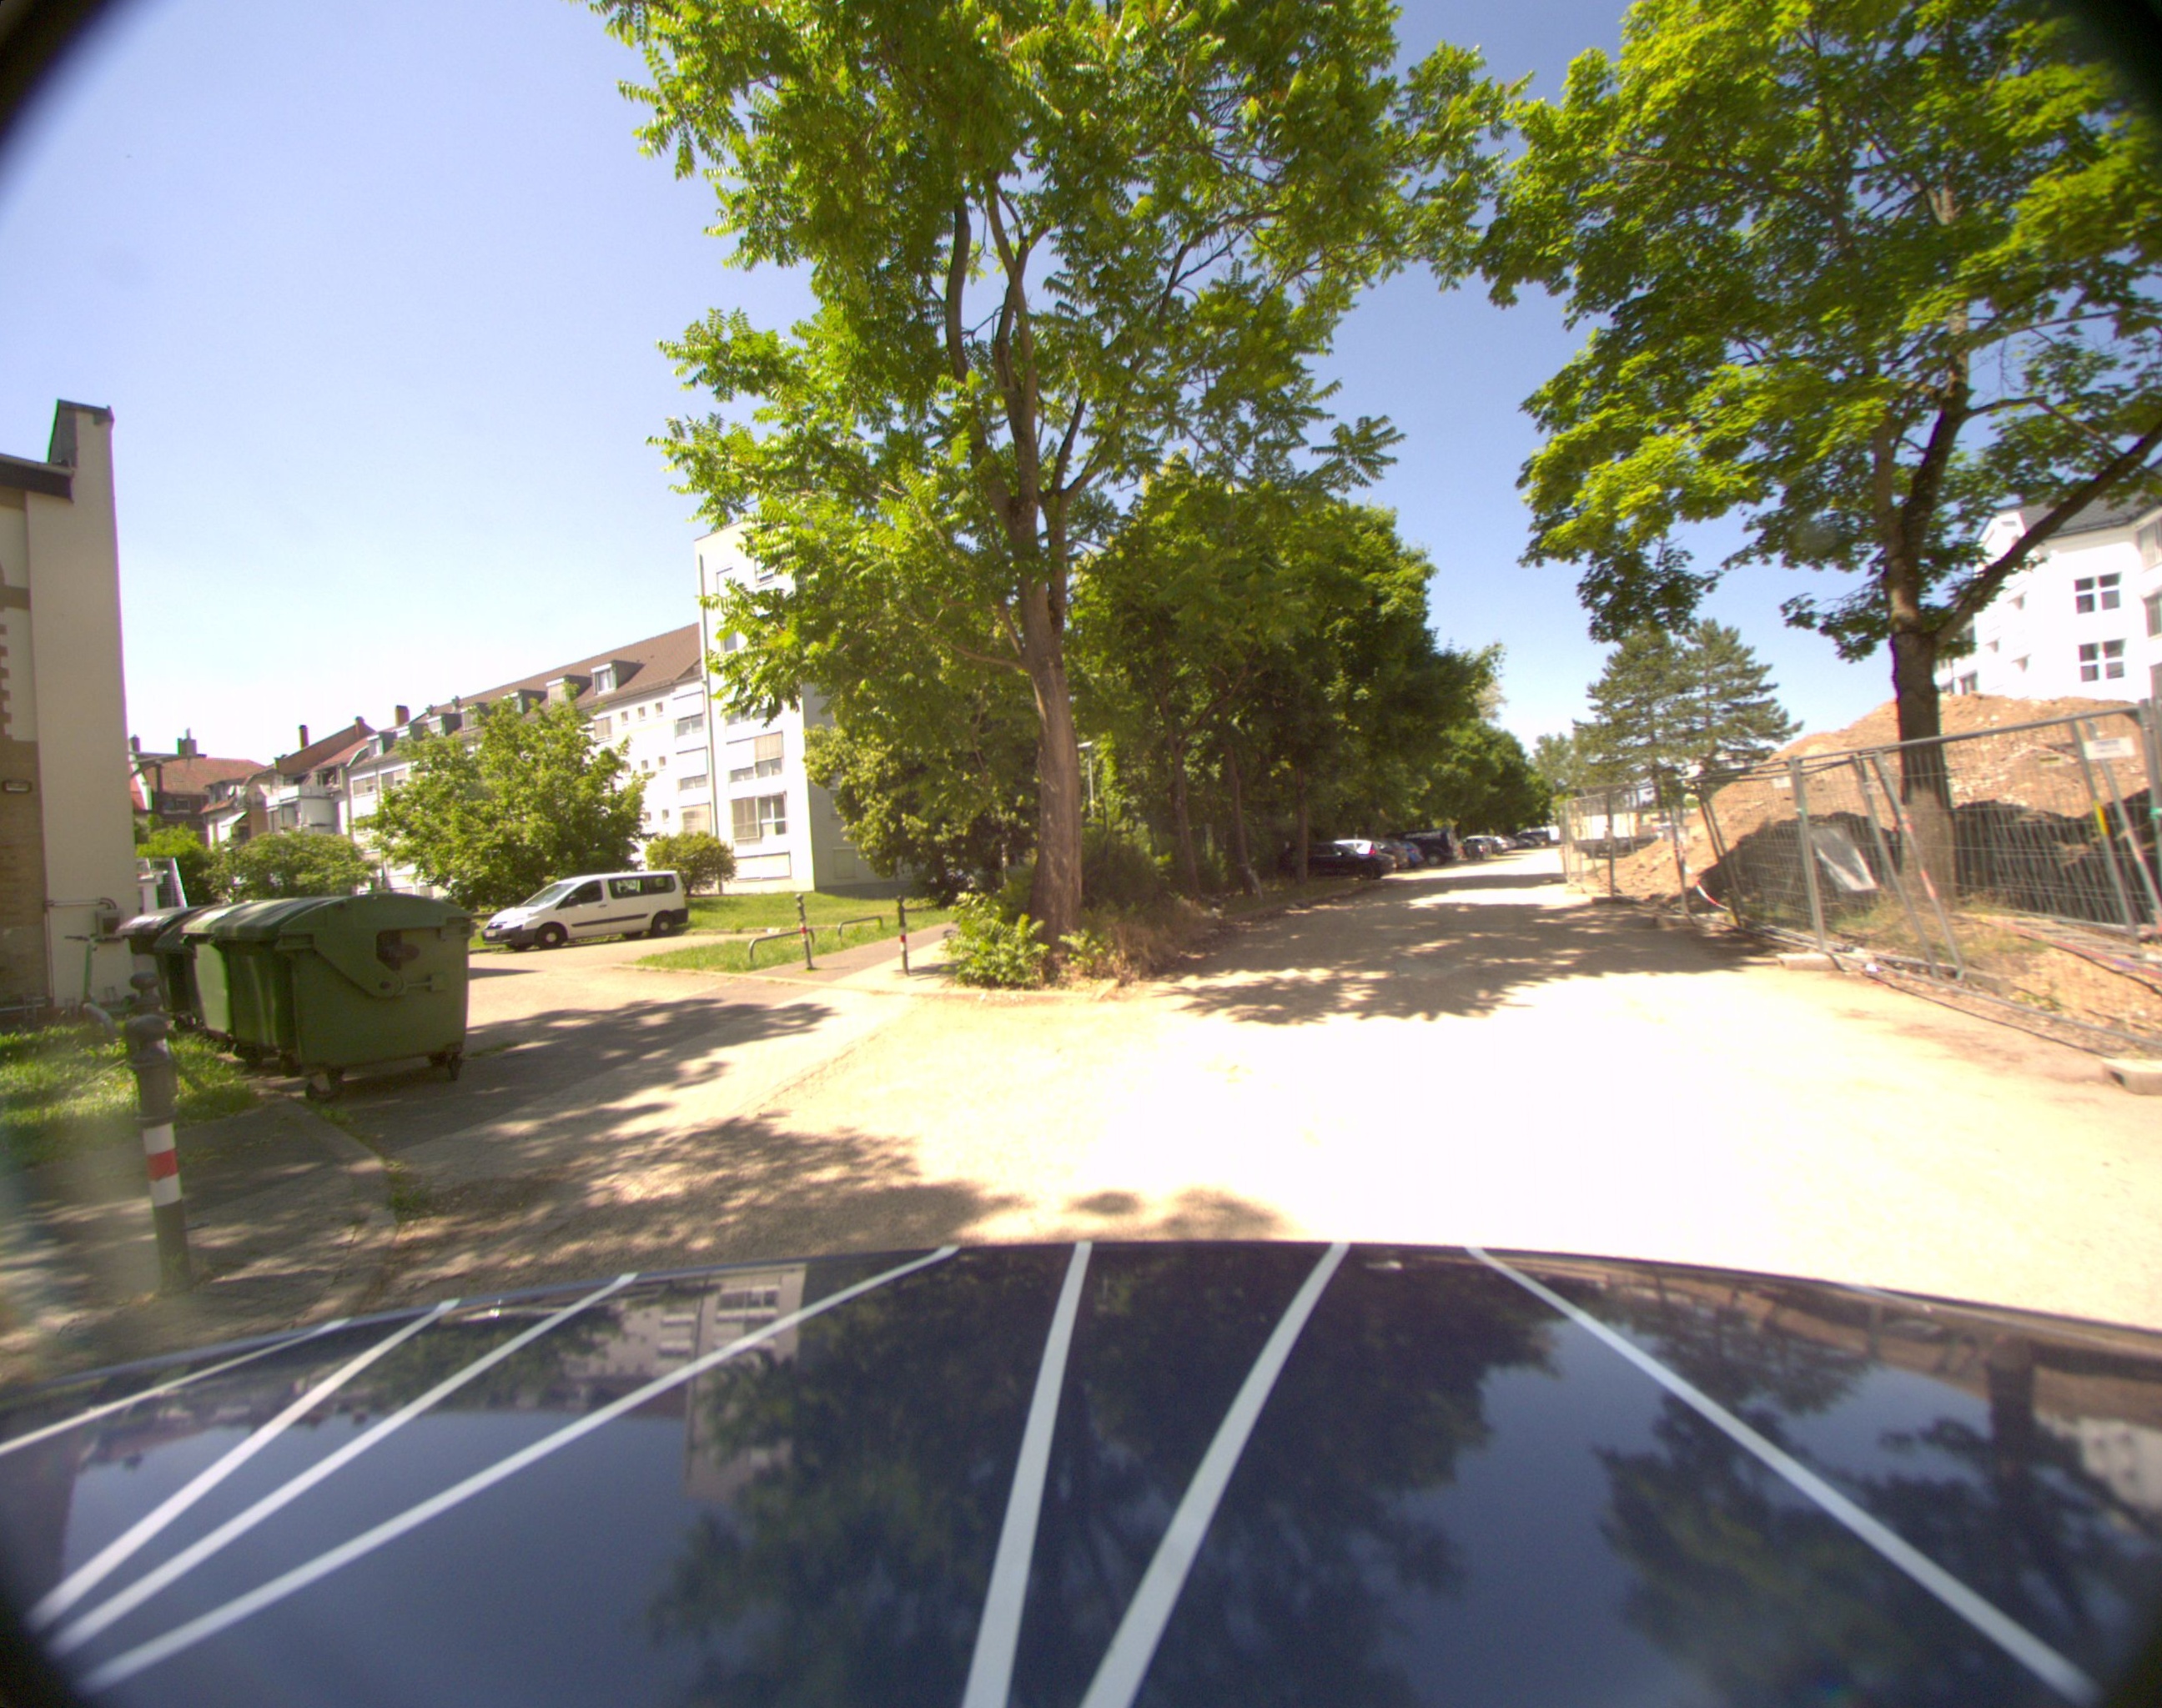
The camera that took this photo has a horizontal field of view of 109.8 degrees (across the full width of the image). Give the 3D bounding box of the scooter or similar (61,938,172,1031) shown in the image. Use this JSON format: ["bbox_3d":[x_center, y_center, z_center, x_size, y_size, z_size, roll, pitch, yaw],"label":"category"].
[{"bbox_3d":[-13.109,1.762,10.330,1.253,1.167,0.465,-3,1,17],"label":"scooter or similar"}]

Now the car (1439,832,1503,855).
[{"bbox_3d":[27.609,-0.713,53.826,3.780,1.401,1.744,-3,0,36],"label":"car"}]

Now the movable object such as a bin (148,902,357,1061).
[{"bbox_3d":[-9.008,1.316,8.291,1.308,1.461,1.184,-2,1,28],"label":"movable object such as a bin"}]

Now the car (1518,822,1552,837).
[{"bbox_3d":[60.985,-3.253,102.083,3.780,1.711,1.744,-3,0,36],"label":"car"}]

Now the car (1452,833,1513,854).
[{"bbox_3d":[29.895,-0.774,56.575,3.780,1.401,1.744,-3,0,36],"label":"car"}]

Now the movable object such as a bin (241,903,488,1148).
[{"bbox_3d":[-5.428,1.172,5.816,1.185,1.461,1.329,-4,2,-44],"label":"movable object such as a bin"}]

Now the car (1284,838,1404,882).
[{"bbox_3d":[10.102,0.236,29.286,3.989,1.494,1.693,-3,0,35],"label":"car"}]

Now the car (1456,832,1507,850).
[{"bbox_3d":[35.936,-1.159,68.167,3.780,1.401,1.744,-3,0,36],"label":"car"}]

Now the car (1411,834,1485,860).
[{"bbox_3d":[22.696,-0.423,47.041,3.780,1.401,1.744,-3,0,36],"label":"car"}]

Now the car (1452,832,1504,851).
[{"bbox_3d":[34.310,-1.083,65.691,3.780,1.401,1.744,-3,0,36],"label":"car"}]

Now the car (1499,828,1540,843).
[{"bbox_3d":[49.867,-2.084,86.405,3.780,1.401,1.744,-3,0,36],"label":"car"}]

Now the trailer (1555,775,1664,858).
[{"bbox_3d":[25.340,-1.759,36.216,3.034,3.401,8.788,-2,1,42],"label":"trailer"}]

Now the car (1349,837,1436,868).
[{"bbox_3d":[15.965,-0.059,39.016,3.780,1.401,1.744,-3,0,34],"label":"car"}]

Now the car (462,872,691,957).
[{"bbox_3d":[-13.730,1.585,21.031,1.995,1.900,4.813,-5,-1,30],"label":"car"}]

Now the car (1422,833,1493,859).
[{"bbox_3d":[24.121,-0.517,48.739,3.780,1.401,1.744,-3,0,36],"label":"car"}]

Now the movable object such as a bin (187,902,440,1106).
[{"bbox_3d":[-6.703,1.212,6.672,1.308,1.461,1.184,-2,1,29],"label":"movable object such as a bin"}]

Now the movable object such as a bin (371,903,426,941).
[{"bbox_3d":[-26.378,2.607,29.373,1.101,1.320,1.260,-4,0,35],"label":"movable object such as a bin"}]

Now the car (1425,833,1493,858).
[{"bbox_3d":[25.179,-0.567,50.622,3.780,1.401,1.744,-3,0,36],"label":"car"}]

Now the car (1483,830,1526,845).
[{"bbox_3d":[45.137,-1.777,81.055,3.780,1.401,1.744,-3,0,36],"label":"car"}]

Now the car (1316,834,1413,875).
[{"bbox_3d":[12.945,0.037,34.717,3.780,1.625,1.851,-3,0,34],"label":"car"}]

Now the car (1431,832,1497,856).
[{"bbox_3d":[26.336,-0.672,52.258,3.780,1.401,1.744,-3,0,36],"label":"car"}]

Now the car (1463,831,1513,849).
[{"bbox_3d":[37.542,-1.265,70.138,3.780,1.401,1.744,-3,0,36],"label":"car"}]

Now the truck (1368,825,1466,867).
[{"bbox_3d":[18.031,-0.428,40.843,4.446,1.982,2.004,-3,0,36],"label":"truck"}]

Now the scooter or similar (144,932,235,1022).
[{"bbox_3d":[-12.625,1.715,10.759,1.354,1.167,0.466,-3,1,26],"label":"scooter or similar"}]

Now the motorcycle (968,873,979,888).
[{"bbox_3d":[-8.589,2.116,60.835,0.700,1.161,2.310,-3,0,-5],"label":"motorcycle"}]

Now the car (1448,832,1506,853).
[{"bbox_3d":[31.501,-0.895,60.447,3.780,1.401,1.744,-3,0,36],"label":"car"}]

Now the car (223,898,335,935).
[{"bbox_3d":[-50.564,3.898,48.026,1.995,1.821,4.459,-3,1,32],"label":"car"}]

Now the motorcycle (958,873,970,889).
[{"bbox_3d":[-9.359,2.153,60.767,0.700,1.161,2.302,-3,0,-5],"label":"motorcycle"}]

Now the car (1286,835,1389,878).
[{"bbox_3d":[10.981,0.131,32.613,3.780,1.625,1.851,-3,0,34],"label":"car"}]

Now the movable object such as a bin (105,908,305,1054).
[{"bbox_3d":[-10.514,1.460,9.149,1.459,1.497,1.160,-2,1,26],"label":"movable object such as a bin"}]

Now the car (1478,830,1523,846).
[{"bbox_3d":[42.329,-1.579,76.704,3.780,1.401,1.744,-3,0,36],"label":"car"}]

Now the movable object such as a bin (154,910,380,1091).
[{"bbox_3d":[-7.926,1.333,7.426,1.308,1.461,1.185,-2,1,31],"label":"movable object such as a bin"}]
